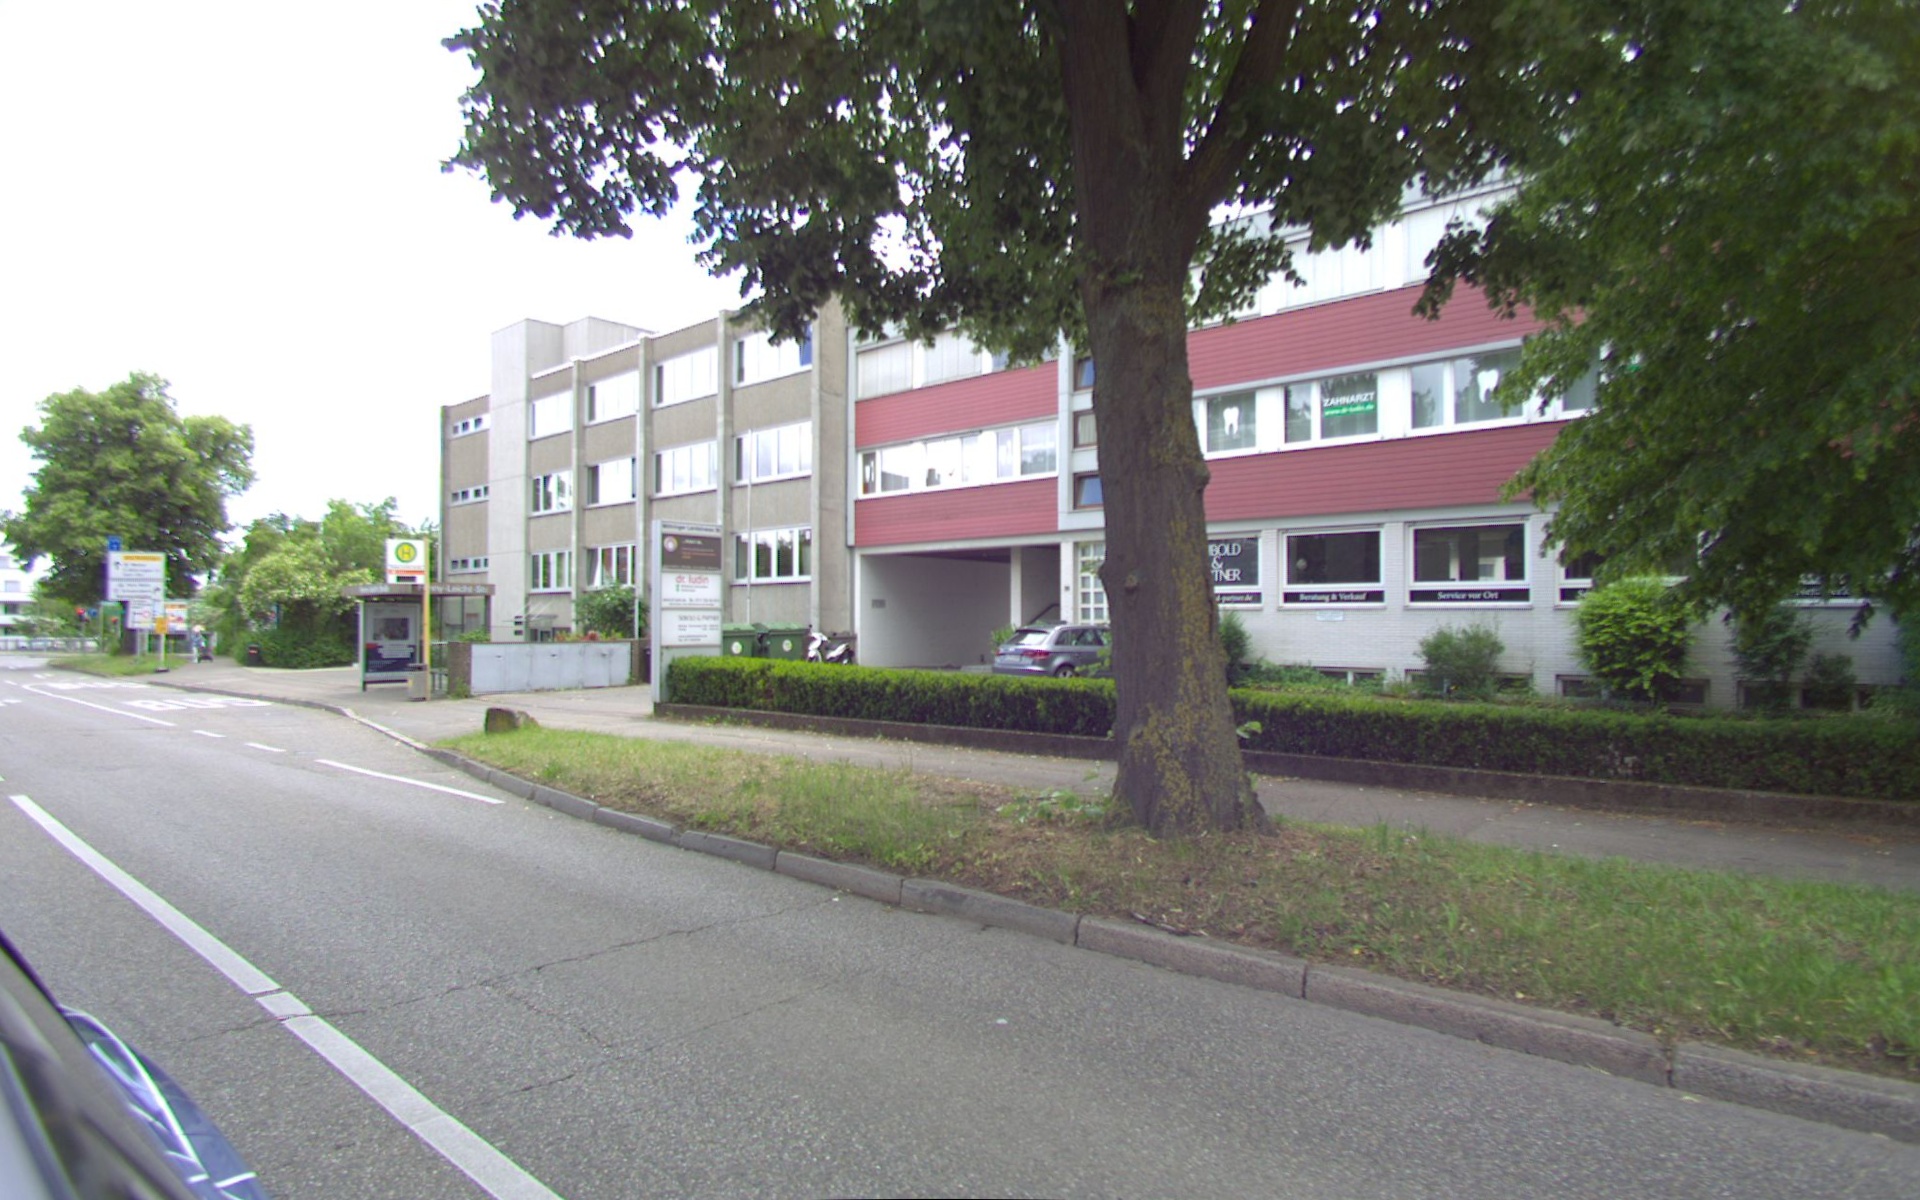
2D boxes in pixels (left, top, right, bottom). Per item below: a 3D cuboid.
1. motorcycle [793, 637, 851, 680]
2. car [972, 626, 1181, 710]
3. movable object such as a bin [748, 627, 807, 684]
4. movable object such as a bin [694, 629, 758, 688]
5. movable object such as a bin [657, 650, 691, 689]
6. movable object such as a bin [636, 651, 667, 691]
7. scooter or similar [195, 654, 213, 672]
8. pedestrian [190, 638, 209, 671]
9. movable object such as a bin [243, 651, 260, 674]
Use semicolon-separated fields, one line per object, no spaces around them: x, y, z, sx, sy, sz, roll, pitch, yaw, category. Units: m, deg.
-3.951;1.665;29.116;0.639;1.148;1.624;-2;-1;41;motorcycle
2.434;1.319;20.820;4.082;1.490;1.817;0;-1;-35;car
-5.007;1.496;27.787;0.884;1.476;1.347;-2;-1;41;movable object such as a bin
-6.141;1.501;26.543;0.992;1.476;1.285;-2;-1;41;movable object such as a bin
-7.278;1.767;25.778;0.562;0.946;0.626;-2;-1;41;movable object such as a bin
-7.673;1.768;25.191;0.562;0.946;0.510;-2;-1;41;movable object such as a bin
-35.794;2.957;47.907;0.598;0.792;0.861;0;-1;-32;scooter or similar
-36.467;2.601;48.530;0.662;1.570;0.521;0;-1;-32;pedestrian
-29.684;2.617;42.391;0.558;0.934;0.609;0;-1;-33;movable object such as a bin
